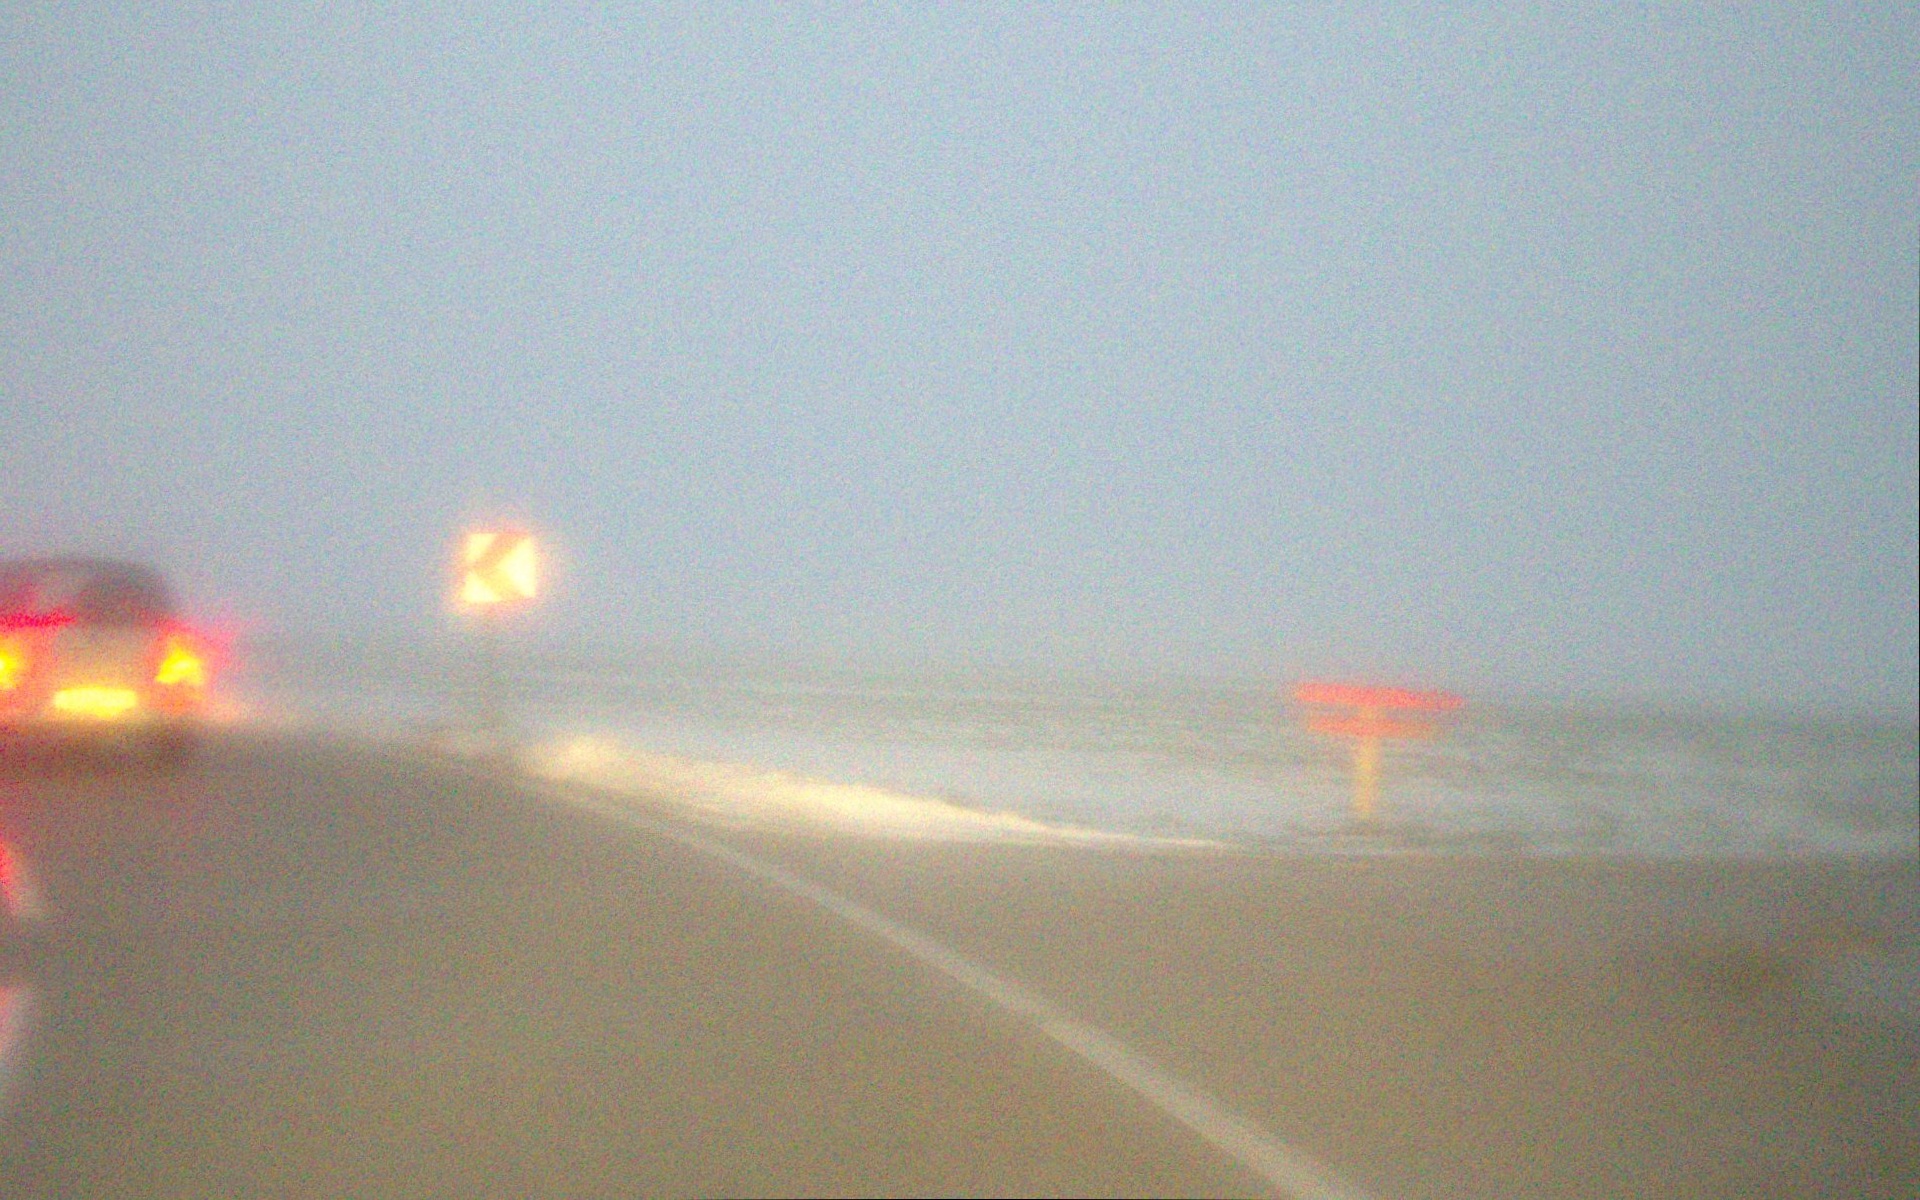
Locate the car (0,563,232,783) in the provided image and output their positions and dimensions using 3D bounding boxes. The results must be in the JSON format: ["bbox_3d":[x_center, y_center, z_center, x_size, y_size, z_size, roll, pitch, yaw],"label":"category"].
[{"bbox_3d":[-6.207,0.438,23.652,1.945,1.376,4.001,0,1,-18],"label":"car"}]
